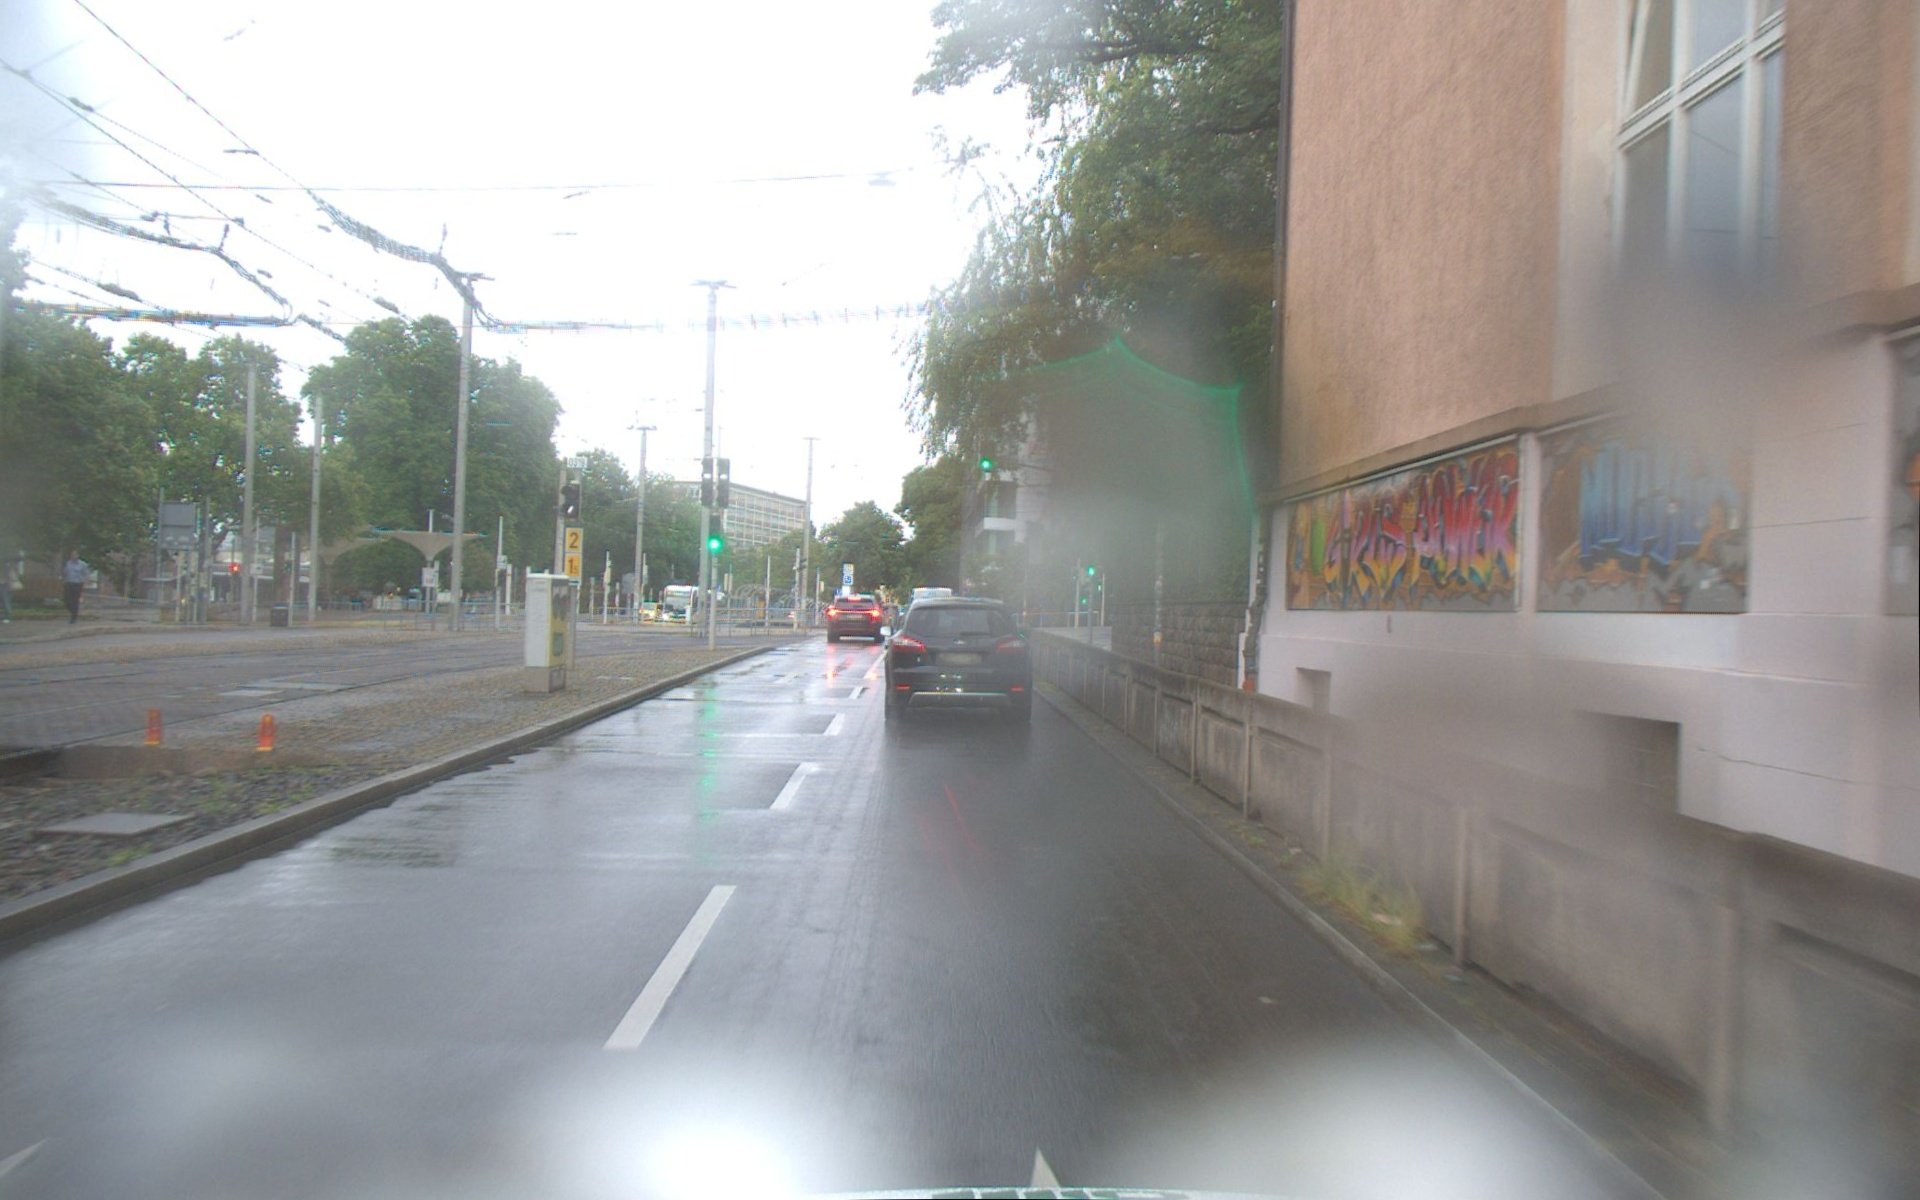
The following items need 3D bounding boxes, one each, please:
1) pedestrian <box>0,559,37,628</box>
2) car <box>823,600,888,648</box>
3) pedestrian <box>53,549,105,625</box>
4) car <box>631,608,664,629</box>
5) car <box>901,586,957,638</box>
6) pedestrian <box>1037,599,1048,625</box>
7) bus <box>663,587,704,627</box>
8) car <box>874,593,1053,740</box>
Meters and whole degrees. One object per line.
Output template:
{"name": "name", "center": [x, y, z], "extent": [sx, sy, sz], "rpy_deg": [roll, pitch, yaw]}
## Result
{"name": "pedestrian", "center": [-23.116, -0.177, 40.087], "extent": [0.984, 1.622, 0.909], "rpy_deg": [3, -1, 38]}
{"name": "car", "center": [-3.449, 0.779, 55.248], "extent": [2.056, 1.532, 4.729], "rpy_deg": [1, 0, -2]}
{"name": "pedestrian", "center": [-22.969, -0.347, 43.119], "extent": [0.905, 1.895, 0.989], "rpy_deg": [4, -1, -41]}
{"name": "car", "center": [-26.407, 1.564, 139.718], "extent": [1.953, 1.674, 4.536], "rpy_deg": [1, 0, 0]}
{"name": "car", "center": [-1.177, 0.451, 64.663], "extent": [1.994, 1.872, 4.392], "rpy_deg": [2, 0, 1]}
{"name": "pedestrian", "center": [5.092, 0.747, 101.987], "extent": [0.530, 1.590, 0.521], "rpy_deg": [0, -1, 19]}
{"name": "bus", "center": [-23.957, 0.597, 143.826], "extent": [3.019, 3.358, 12.501], "rpy_deg": [1, 0, -8]}
{"name": "car", "center": [-0.004, 0.759, 21.085], "extent": [1.994, 1.612, 4.391], "rpy_deg": [2, 0, -1]}
